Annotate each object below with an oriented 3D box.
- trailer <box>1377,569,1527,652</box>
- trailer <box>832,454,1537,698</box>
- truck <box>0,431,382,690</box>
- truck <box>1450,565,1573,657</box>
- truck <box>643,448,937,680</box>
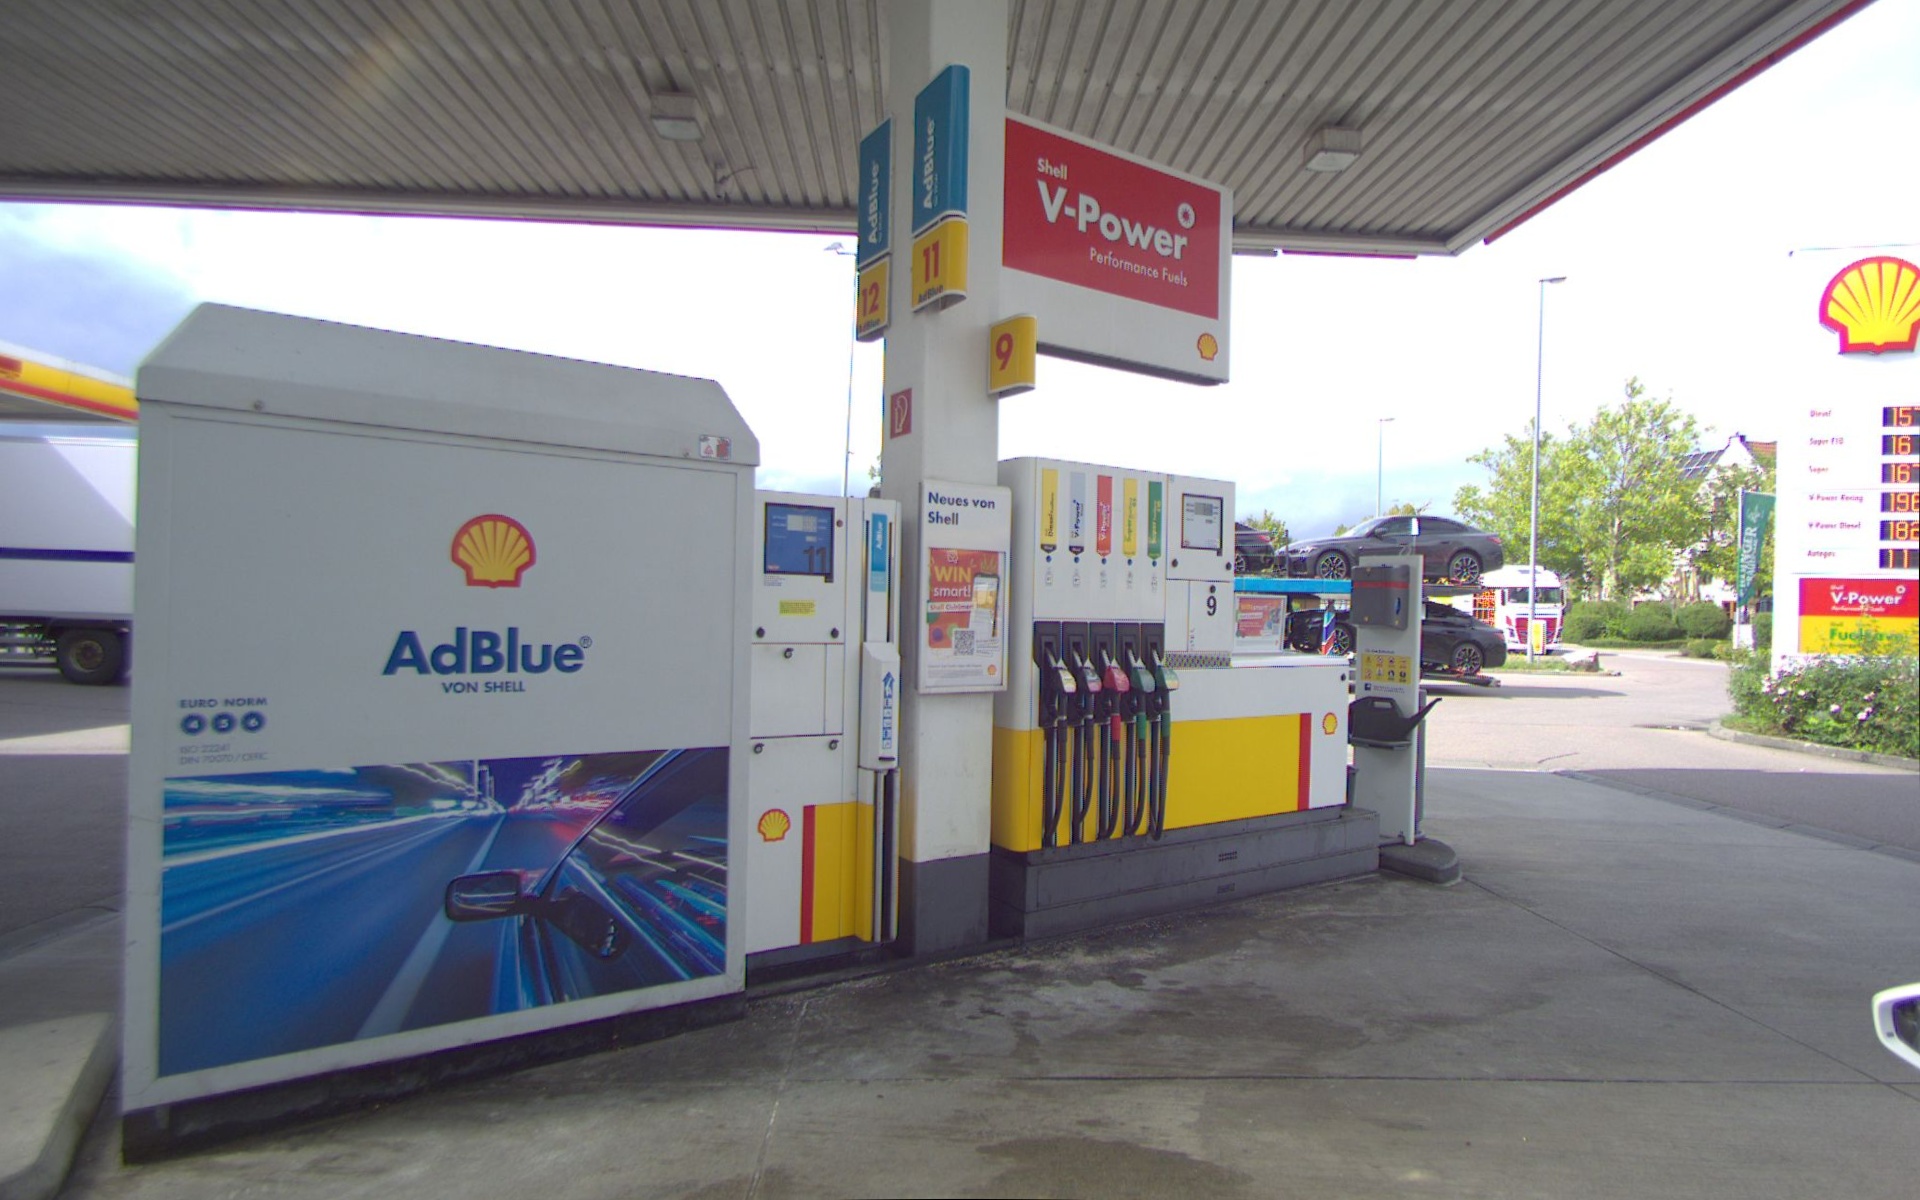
[{"bbox_3d":[25.904,0.549,53.890,2.684,3.826,12.718,2,0,5],"label":"trailer"},{"bbox_3d":[4.525,-0.475,21.583,14.077,4.481,2.746,2,0,0],"label":"trailer"},{"bbox_3d":[-17.302,-0.746,17.498,12.654,4.092,2.534,2,0,-3],"label":"truck"},{"bbox_3d":[25.299,0.495,46.426,2.686,3.897,5.921,2,0,5],"label":"truck"},{"bbox_3d":[-3.451,-0.712,21.544,5.713,4.479,2.750,2,0,0],"label":"truck"}]
